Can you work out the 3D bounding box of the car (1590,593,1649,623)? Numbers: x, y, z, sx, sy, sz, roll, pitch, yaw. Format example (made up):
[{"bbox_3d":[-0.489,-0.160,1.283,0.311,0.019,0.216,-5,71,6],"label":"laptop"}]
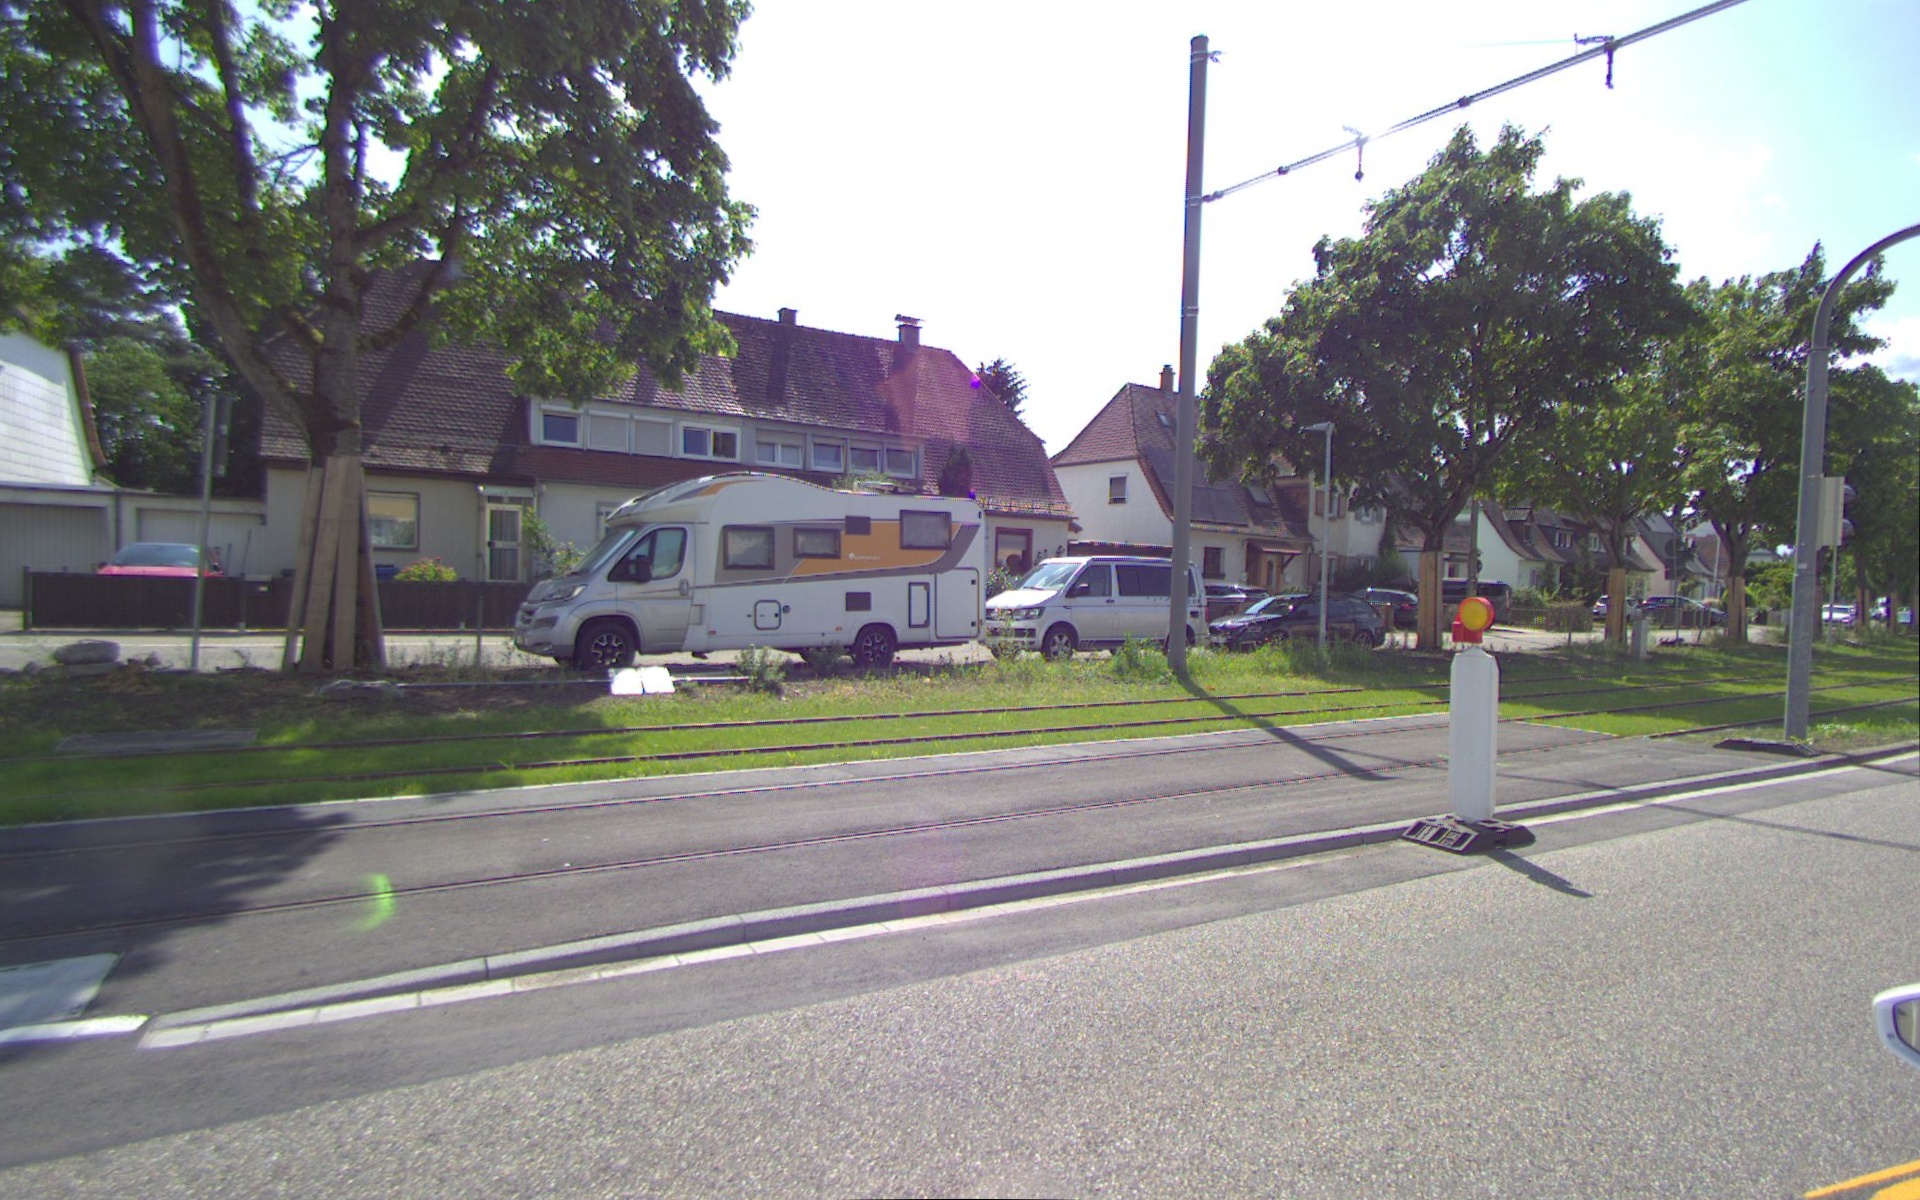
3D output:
[{"bbox_3d":[35.592,0.424,54.171,4.014,1.538,1.712,1,2,-43],"label":"car"}]

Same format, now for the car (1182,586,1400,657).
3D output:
[{"bbox_3d":[7.407,0.471,22.355,4.749,1.406,1.844,1,1,-29],"label":"car"}]

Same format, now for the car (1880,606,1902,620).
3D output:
[{"bbox_3d":[101.976,1.391,110.021,1.709,1.525,4.542,0,0,42],"label":"car"}]

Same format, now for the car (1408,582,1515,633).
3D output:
[{"bbox_3d":[21.652,0.285,43.397,3.830,1.922,1.937,5,3,33],"label":"car"}]

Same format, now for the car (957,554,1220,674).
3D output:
[{"bbox_3d":[2.529,0.245,19.338,4.851,2.041,1.982,1,2,-33],"label":"car"}]

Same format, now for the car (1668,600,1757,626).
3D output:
[{"bbox_3d":[50.206,0.844,67.072,1.912,1.544,4.427,1,2,-43],"label":"car"}]

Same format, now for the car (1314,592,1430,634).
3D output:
[{"bbox_3d":[16.076,0.476,39.333,1.720,1.477,3.854,1,2,-37],"label":"car"}]

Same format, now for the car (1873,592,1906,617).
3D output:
[{"bbox_3d":[106.921,0.478,115.642,2.047,2.757,6.975,0,0,37],"label":"car"}]

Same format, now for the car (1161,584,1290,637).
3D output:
[{"bbox_3d":[9.050,0.329,34.525,1.857,1.551,3.957,1,2,-37],"label":"car"}]

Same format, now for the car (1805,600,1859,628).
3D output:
[{"bbox_3d":[60.927,0.980,70.147,5.038,1.792,1.866,1,1,-38],"label":"car"}]

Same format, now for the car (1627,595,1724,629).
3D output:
[{"bbox_3d":[43.666,0.702,61.360,2.050,1.861,4.427,1,2,-43],"label":"car"}]

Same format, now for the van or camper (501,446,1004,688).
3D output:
[{"bbox_3d":[-2.963,-0.377,15.485,7.218,3.010,2.361,1,1,-33],"label":"van or camper"}]

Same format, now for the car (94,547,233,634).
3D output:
[{"bbox_3d":[-15.565,-0.218,19.801,1.651,1.542,3.598,1,1,-31],"label":"car"}]
